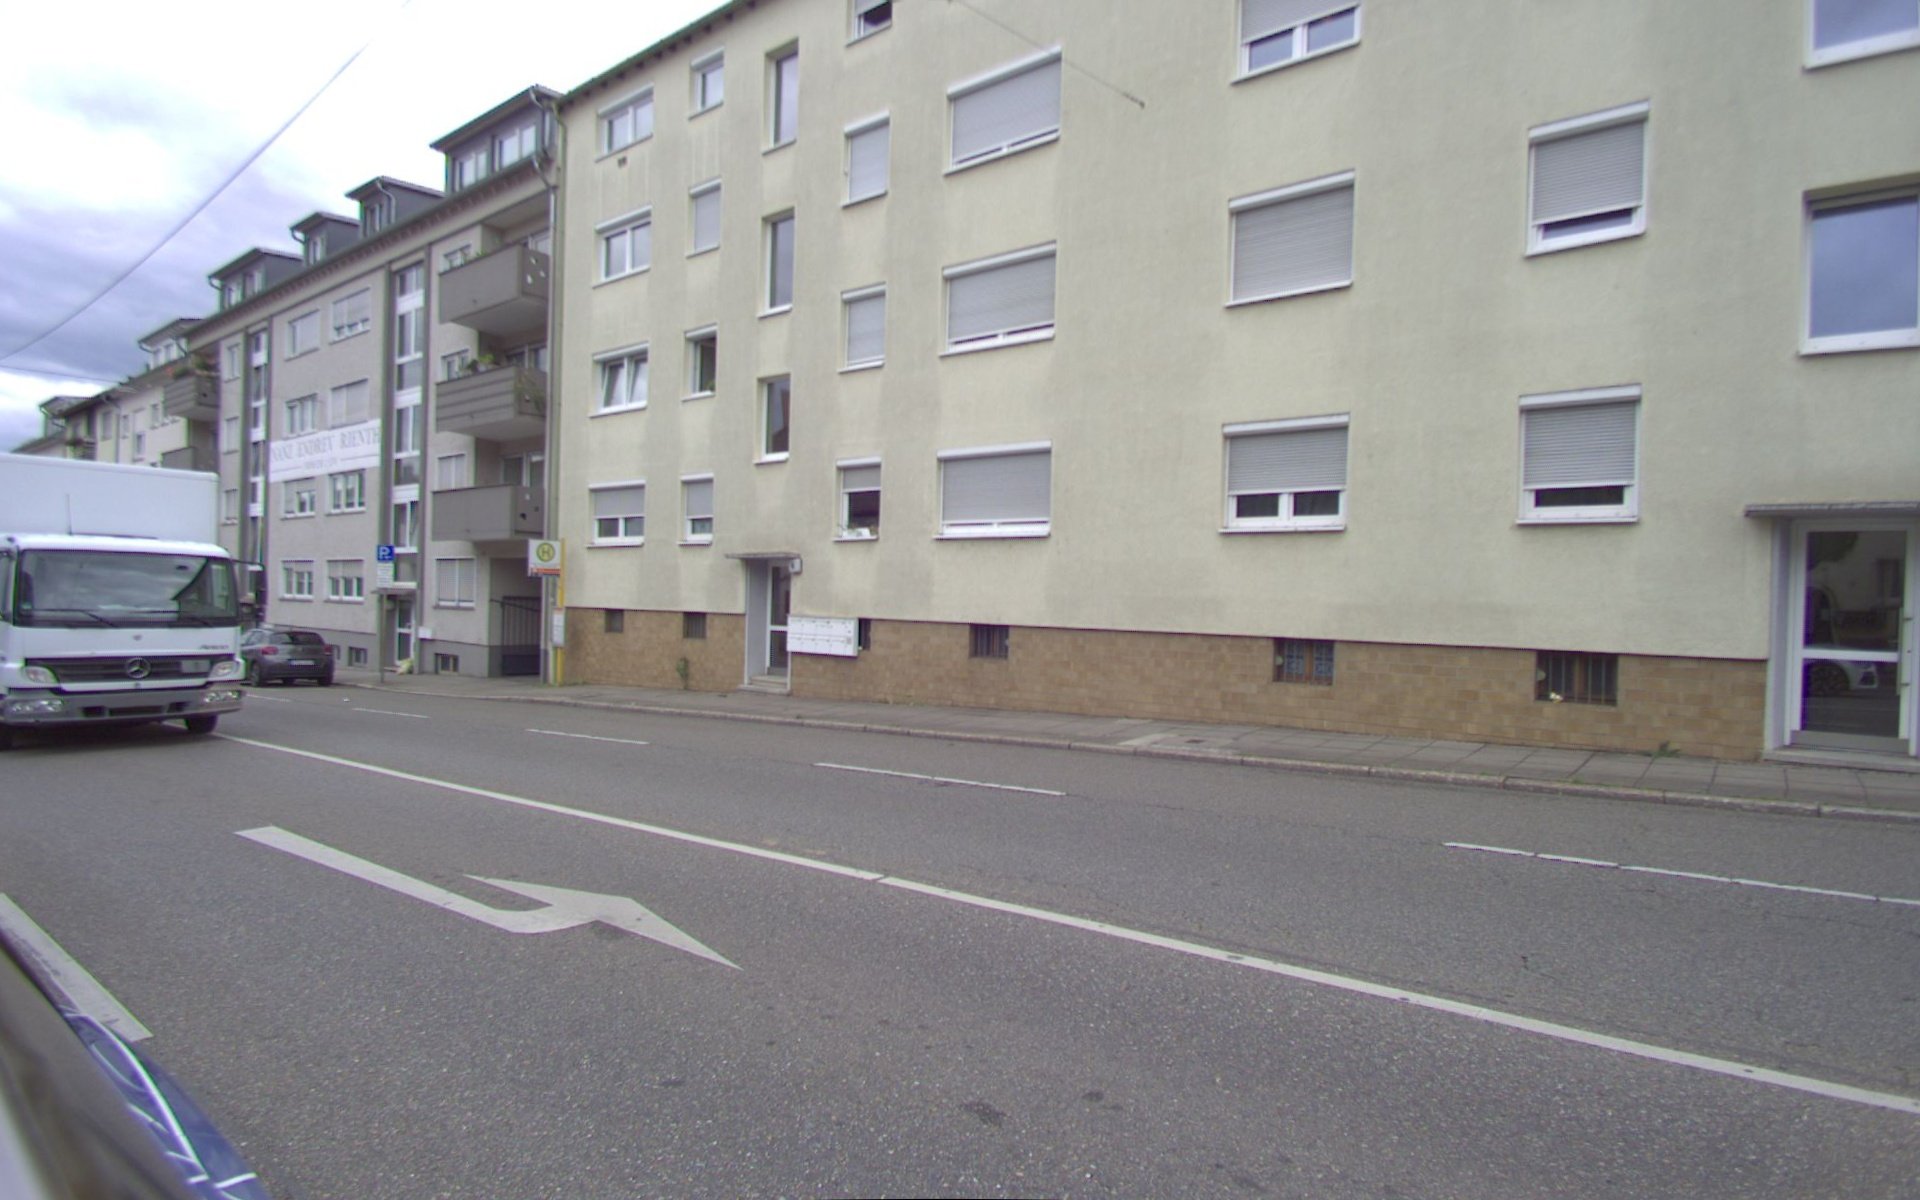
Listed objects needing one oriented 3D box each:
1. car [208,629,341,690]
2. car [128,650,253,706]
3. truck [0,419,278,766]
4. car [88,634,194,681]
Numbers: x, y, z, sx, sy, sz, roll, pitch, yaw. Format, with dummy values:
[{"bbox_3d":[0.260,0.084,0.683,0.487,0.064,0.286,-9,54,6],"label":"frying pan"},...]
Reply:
[{"bbox_3d":[-17.734,1.511,26.133,3.797,1.447,1.751,-1,-4,39],"label":"car"},{"bbox_3d":[-22.479,2.229,29.497,4.712,1.416,1.751,-1,-4,39],"label":"car"},{"bbox_3d":[-12.460,0.022,13.921,8.052,3.602,2.743,-2,-1,38],"label":"truck"},{"bbox_3d":[-26.615,1.840,32.852,4.302,1.416,1.751,-1,-3,39],"label":"car"}]
